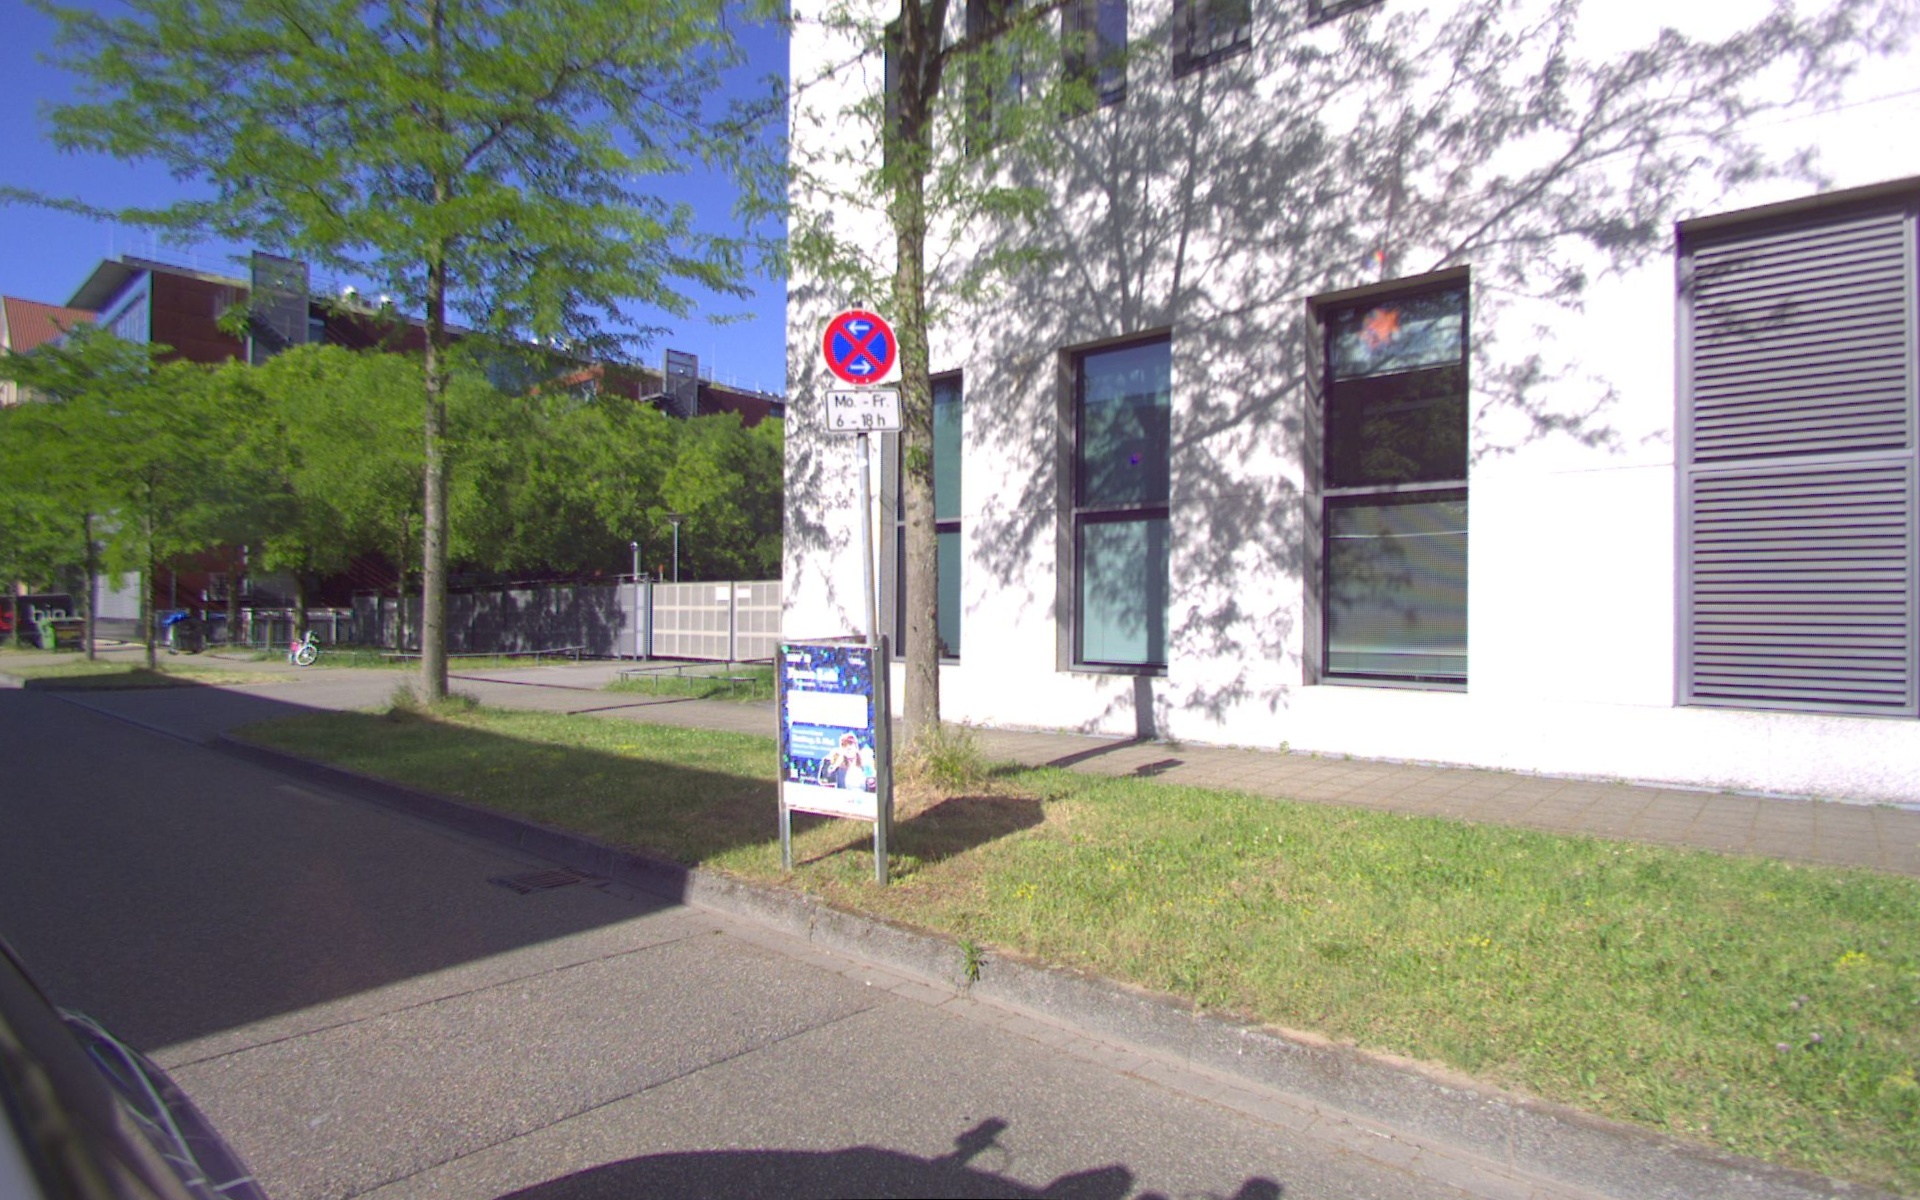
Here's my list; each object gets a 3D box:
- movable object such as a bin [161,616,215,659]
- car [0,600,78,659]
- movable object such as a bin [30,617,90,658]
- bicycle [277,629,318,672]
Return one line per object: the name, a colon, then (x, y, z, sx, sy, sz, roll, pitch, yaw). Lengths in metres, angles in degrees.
movable object such as a bin: (-29.365, 1.409, 38.480, 1.501, 1.580, 1.348, 0, -1, -44)
car: (-43.527, 1.366, 45.609, 1.985, 2.560, 5.420, -1, 0, 40)
movable object such as a bin: (-36.013, 1.467, 40.501, 1.342, 1.580, 1.508, -1, -1, 31)
bicycle: (-19.265, 1.454, 29.420, 1.727, 1.201, 0.594, -1, -1, 42)
